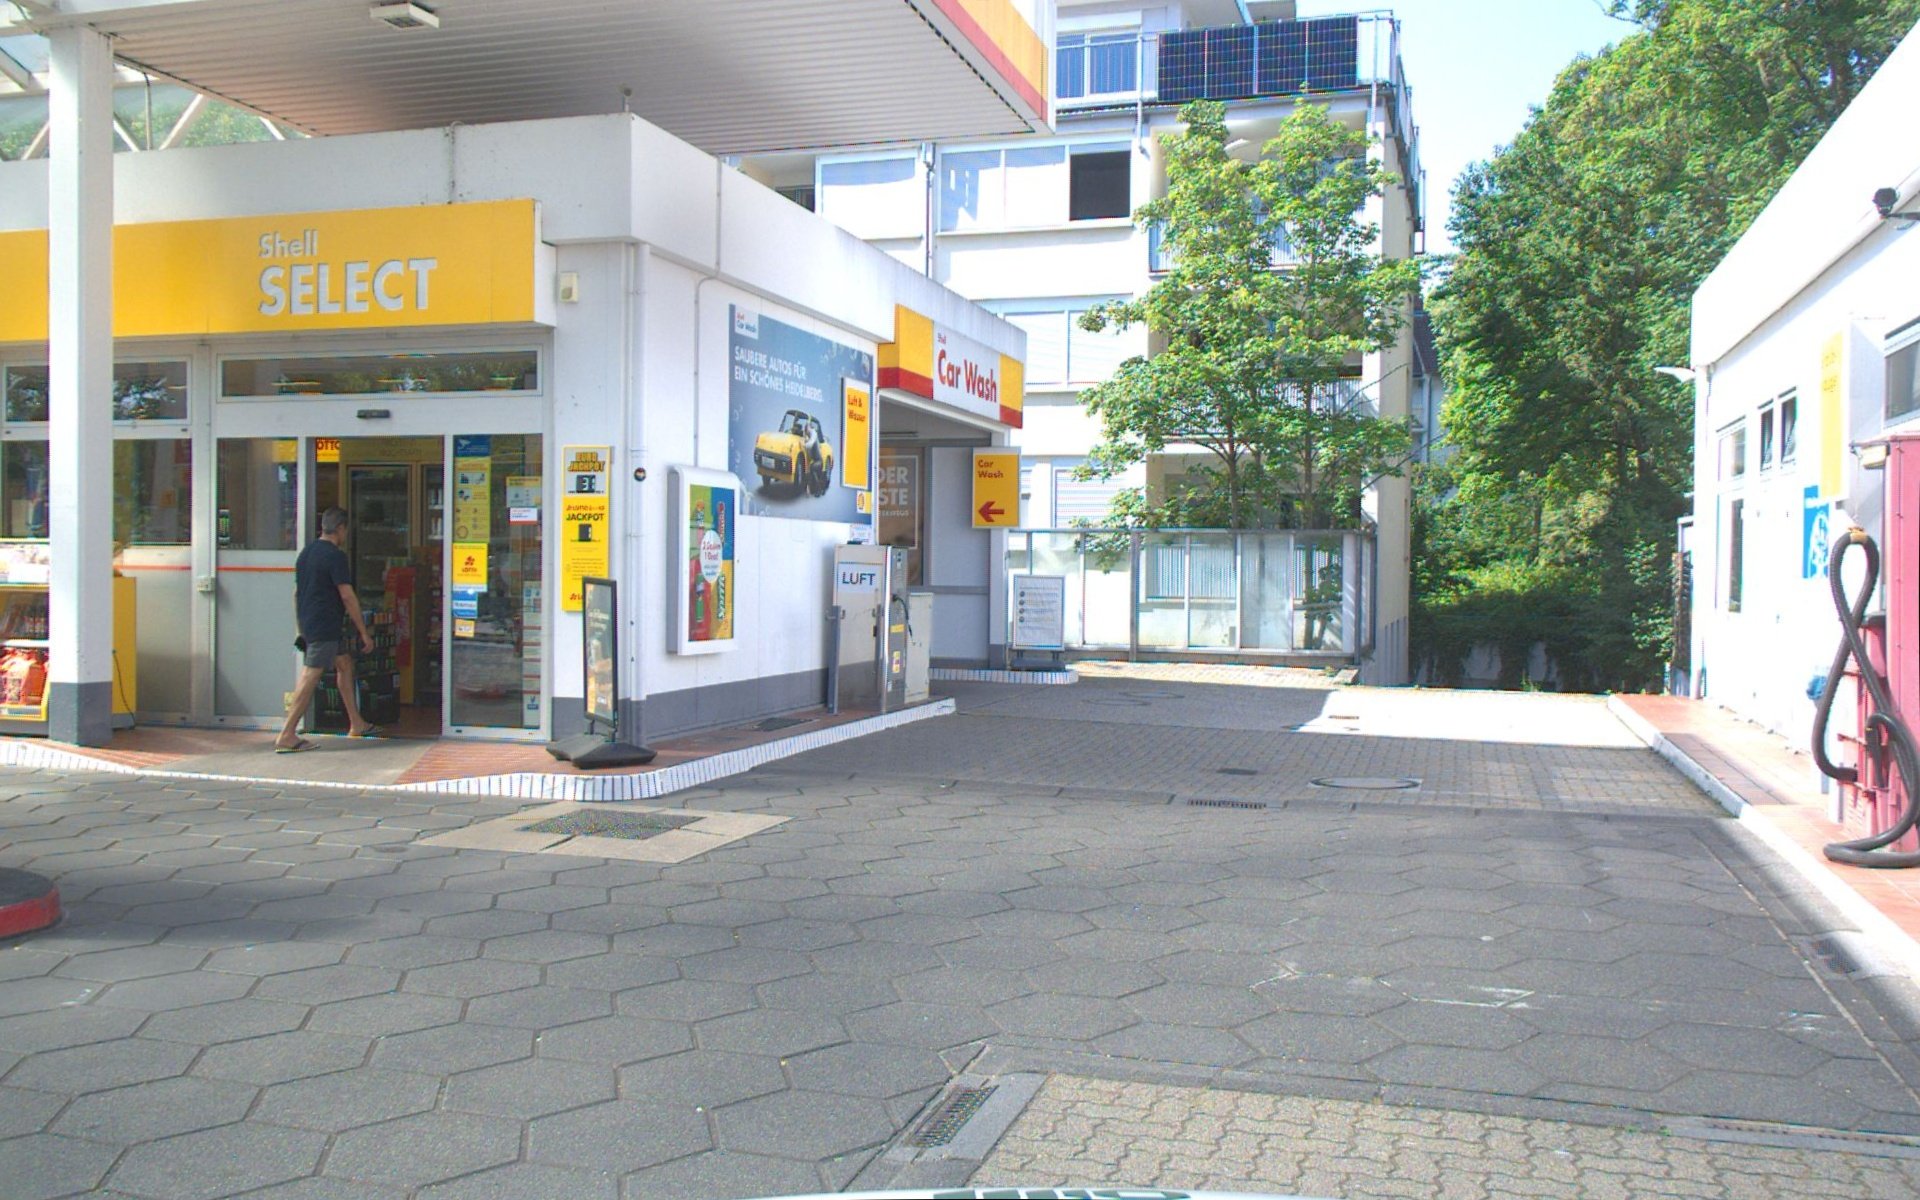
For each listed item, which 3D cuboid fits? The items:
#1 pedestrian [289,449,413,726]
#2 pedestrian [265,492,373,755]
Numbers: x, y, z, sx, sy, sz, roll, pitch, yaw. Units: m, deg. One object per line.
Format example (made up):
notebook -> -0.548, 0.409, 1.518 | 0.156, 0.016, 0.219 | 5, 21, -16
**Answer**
pedestrian -> -4.644, -0.103, 12.650 | 0.608, 2.049, 0.743 | 0, 1, 8
pedestrian -> -4.466, 0.159, 11.546 | 0.560, 1.792, 0.530 | 0, 1, -4
